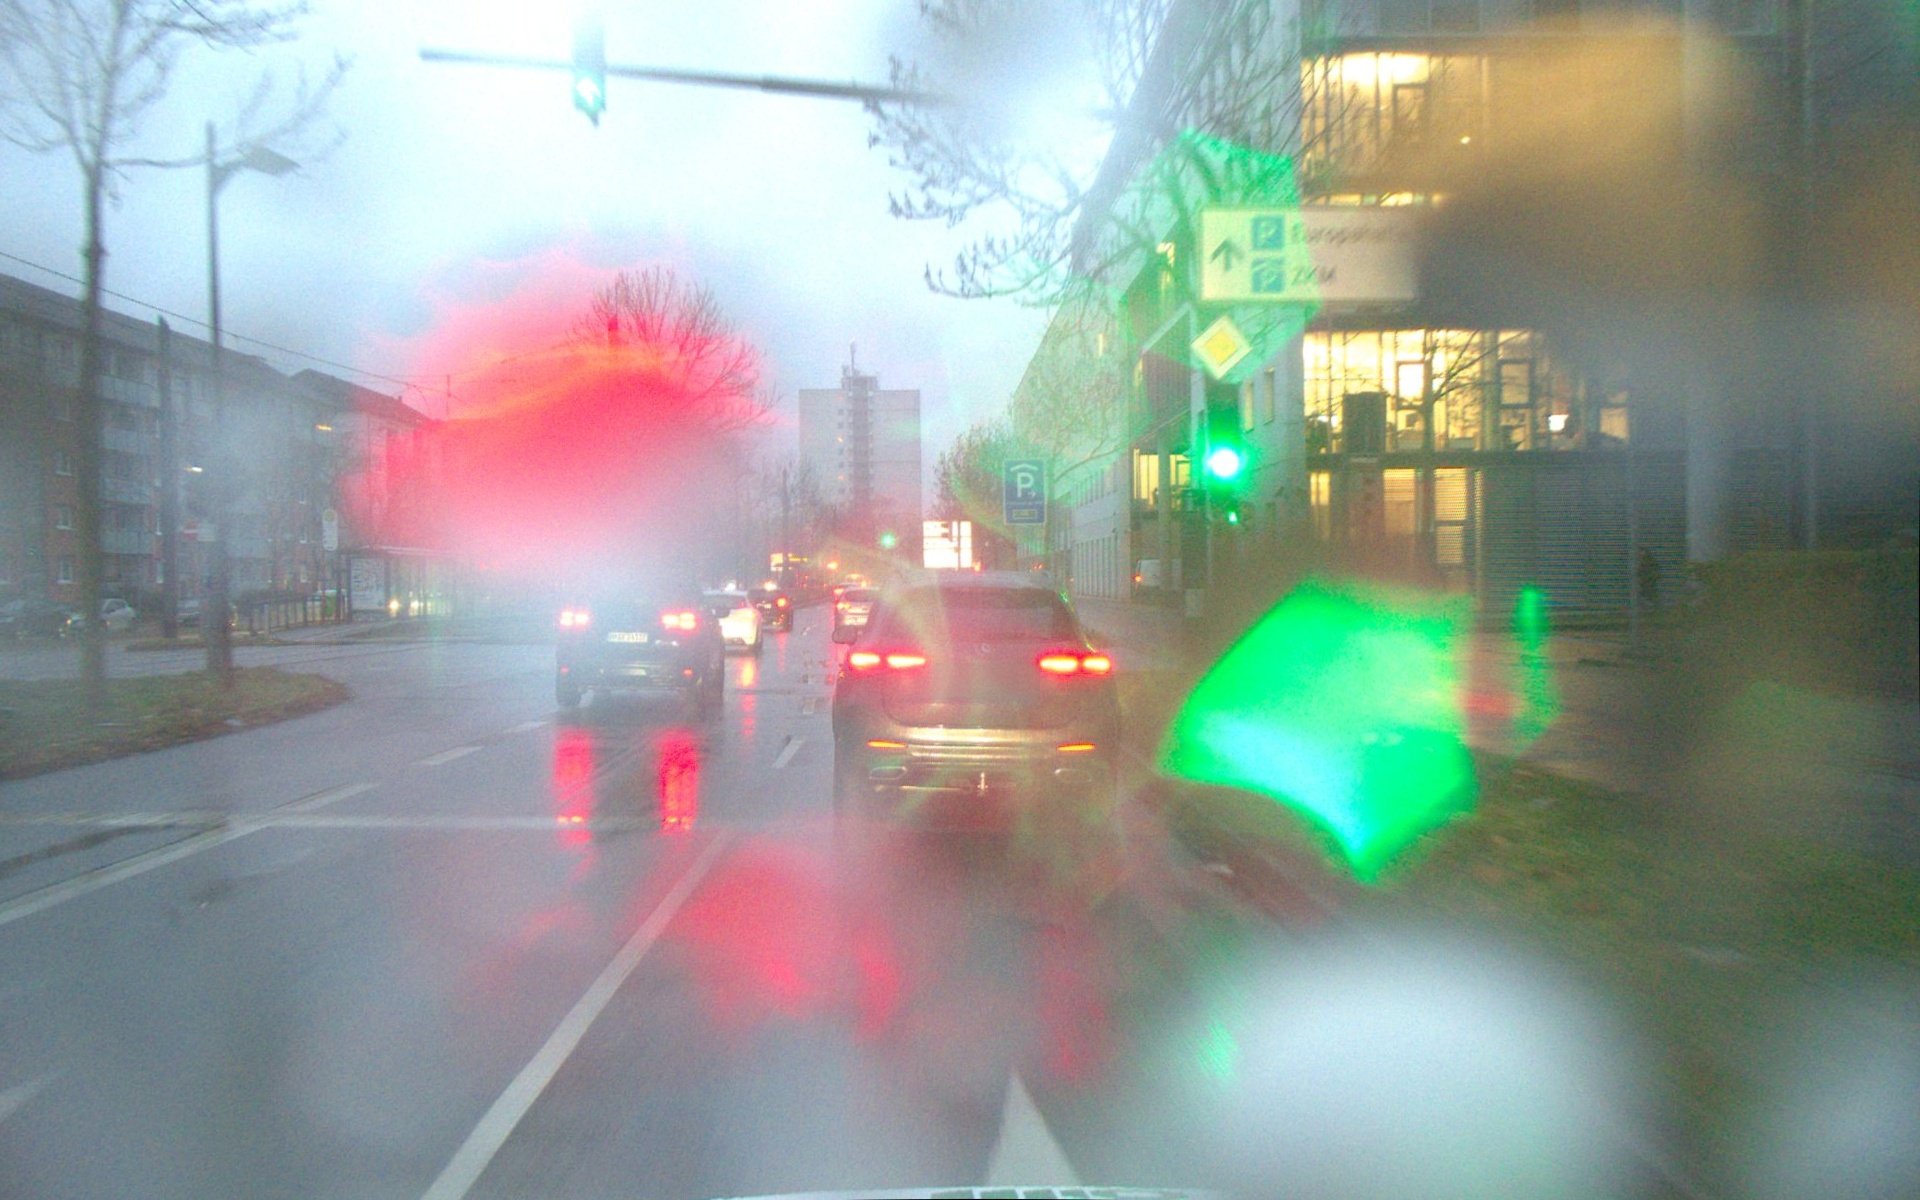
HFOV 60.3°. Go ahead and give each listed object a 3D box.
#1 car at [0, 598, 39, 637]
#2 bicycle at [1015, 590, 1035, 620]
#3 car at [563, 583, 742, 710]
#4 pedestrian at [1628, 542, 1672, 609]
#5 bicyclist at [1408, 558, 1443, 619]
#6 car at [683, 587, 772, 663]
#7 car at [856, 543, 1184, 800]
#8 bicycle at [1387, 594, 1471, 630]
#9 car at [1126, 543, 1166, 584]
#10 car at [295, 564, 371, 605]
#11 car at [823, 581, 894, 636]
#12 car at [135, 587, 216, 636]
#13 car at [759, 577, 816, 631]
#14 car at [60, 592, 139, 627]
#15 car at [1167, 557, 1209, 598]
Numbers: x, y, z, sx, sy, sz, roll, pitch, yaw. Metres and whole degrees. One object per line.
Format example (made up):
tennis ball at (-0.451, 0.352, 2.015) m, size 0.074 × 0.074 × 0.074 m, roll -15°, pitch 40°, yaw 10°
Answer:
car at (-33.991, 0.609, 58.120) m, size 1.416 × 1.309 × 3.384 m, roll 1°, pitch 0°, yaw -2°
bicycle at (2.200, 0.157, 56.034) m, size 0.534 × 0.982 × 1.345 m, roll 1°, pitch 0°, yaw -4°
car at (-3.885, 0.529, 21.520) m, size 1.781 × 1.476 × 3.997 m, roll 1°, pitch 0°, yaw -4°
pedestrian at (17.540, -0.619, 42.084) m, size 0.791 × 1.683 × 0.726 m, roll 1°, pitch 0°, yaw 0°
bicyclist at (10.397, -0.258, 36.962) m, size 0.610 × 1.353 × 0.564 m, roll 1°, pitch 0°, yaw 31°
car at (-5.416, 0.544, 38.859) m, size 1.655 × 1.664 × 3.472 m, roll 1°, pitch 0°, yaw -2°
car at (0.310, 0.423, 11.794) m, size 1.953 × 1.509 × 3.699 m, roll 1°, pitch 0°, yaw -2°
bicycle at (10.457, 0.266, 36.890) m, size 1.697 × 0.758 × 0.650 m, roll 1°, pitch 0°, yaw 32°
car at (8.433, -1.636, 75.142) m, size 1.593 × 1.790 × 3.423 m, roll 1°, pitch 0°, yaw 3°
car at (-22.126, -0.539, 58.444) m, size 1.416 × 1.365 × 3.635 m, roll 1°, pitch 0°, yaw -2°
car at (-3.025, 0.236, 50.054) m, size 1.828 × 1.570 × 3.611 m, roll 1°, pitch 0°, yaw 1°
car at (-34.672, 0.488, 73.211) m, size 1.955 × 2.049 × 3.996 m, roll 1°, pitch 0°, yaw -5°
car at (-5.960, 0.135, 57.450) m, size 1.628 × 1.790 × 3.567 m, roll 1°, pitch 0°, yaw 0°
car at (-33.643, 0.352, 64.711) m, size 1.416 × 1.309 × 3.384 m, roll 1°, pitch 0°, yaw -2°
car at (10.345, -1.026, 75.148) m, size 1.593 × 1.790 × 3.423 m, roll 1°, pitch 0°, yaw 3°
